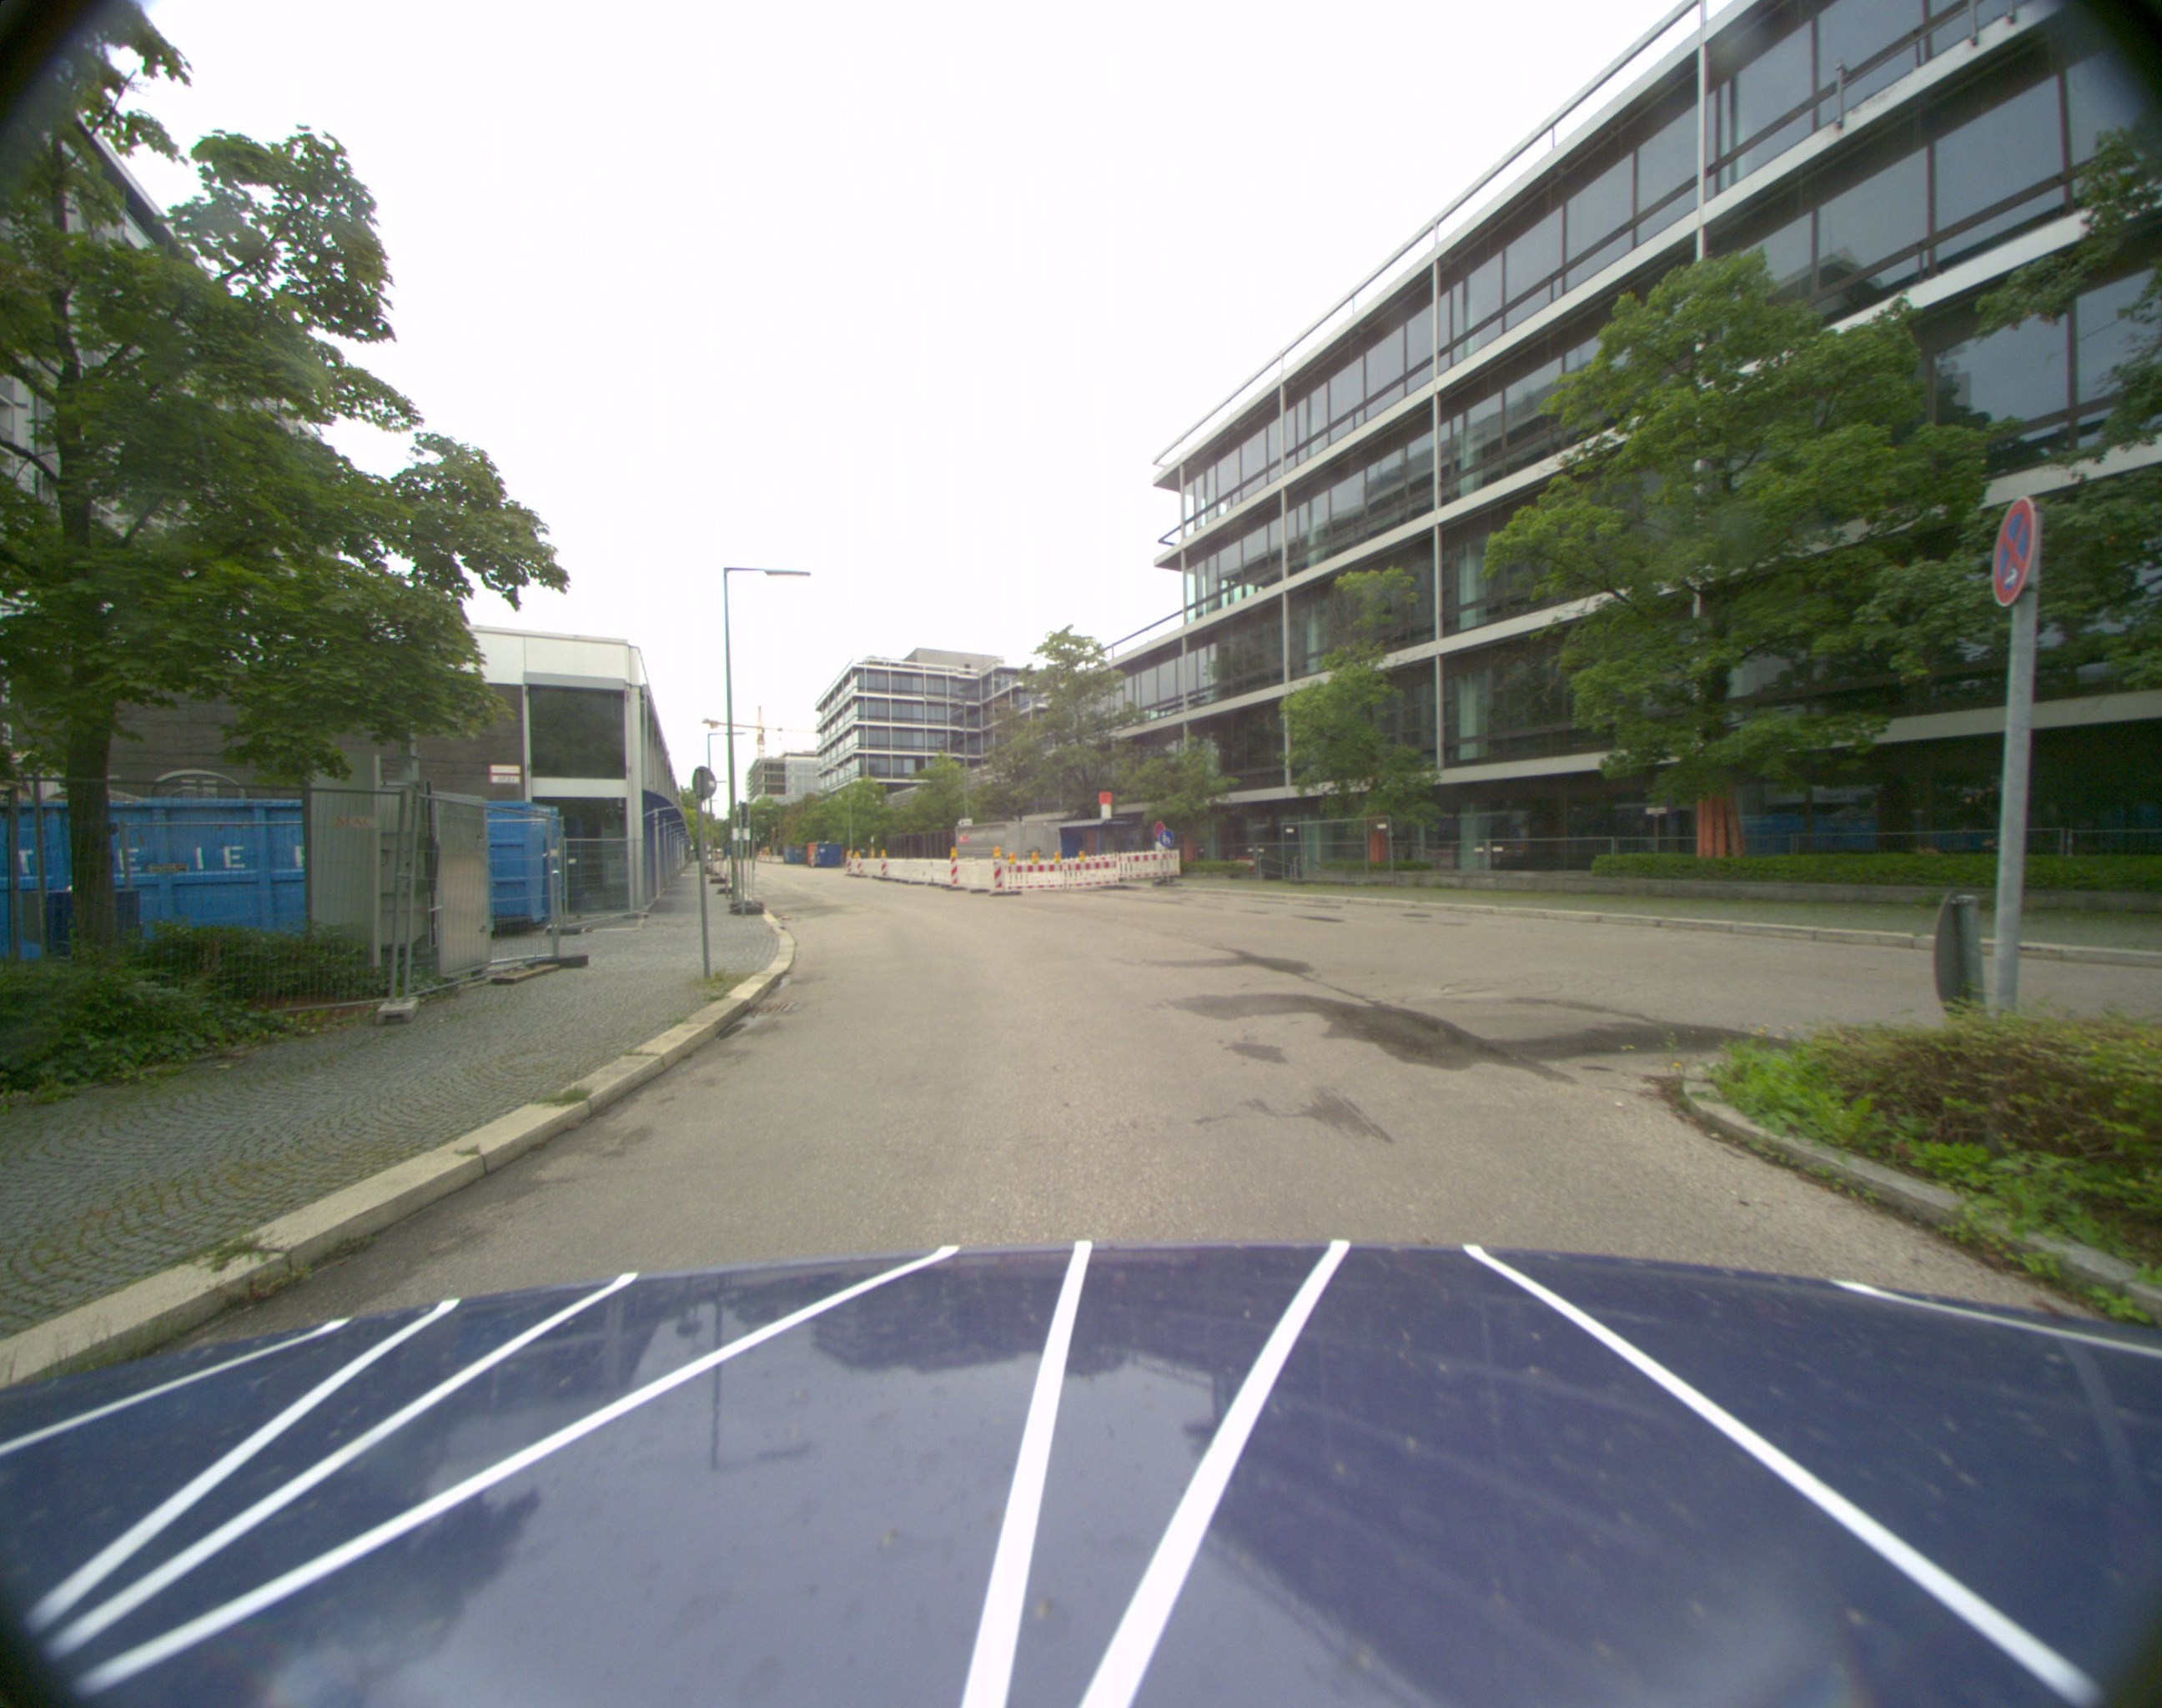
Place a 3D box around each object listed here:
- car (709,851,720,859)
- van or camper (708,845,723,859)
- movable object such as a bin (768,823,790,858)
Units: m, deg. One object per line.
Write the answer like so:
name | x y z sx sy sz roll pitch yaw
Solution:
car | -75.852 0.152 157.160 1.916 1.627 3.991 -1 1 -25
van or camper | -78.313 -0.460 162.925 2.672 2.751 6.900 -1 1 -23
movable object such as a bin | -55.112 -2.458 138.525 3.248 6.286 8.318 -2 1 -24
